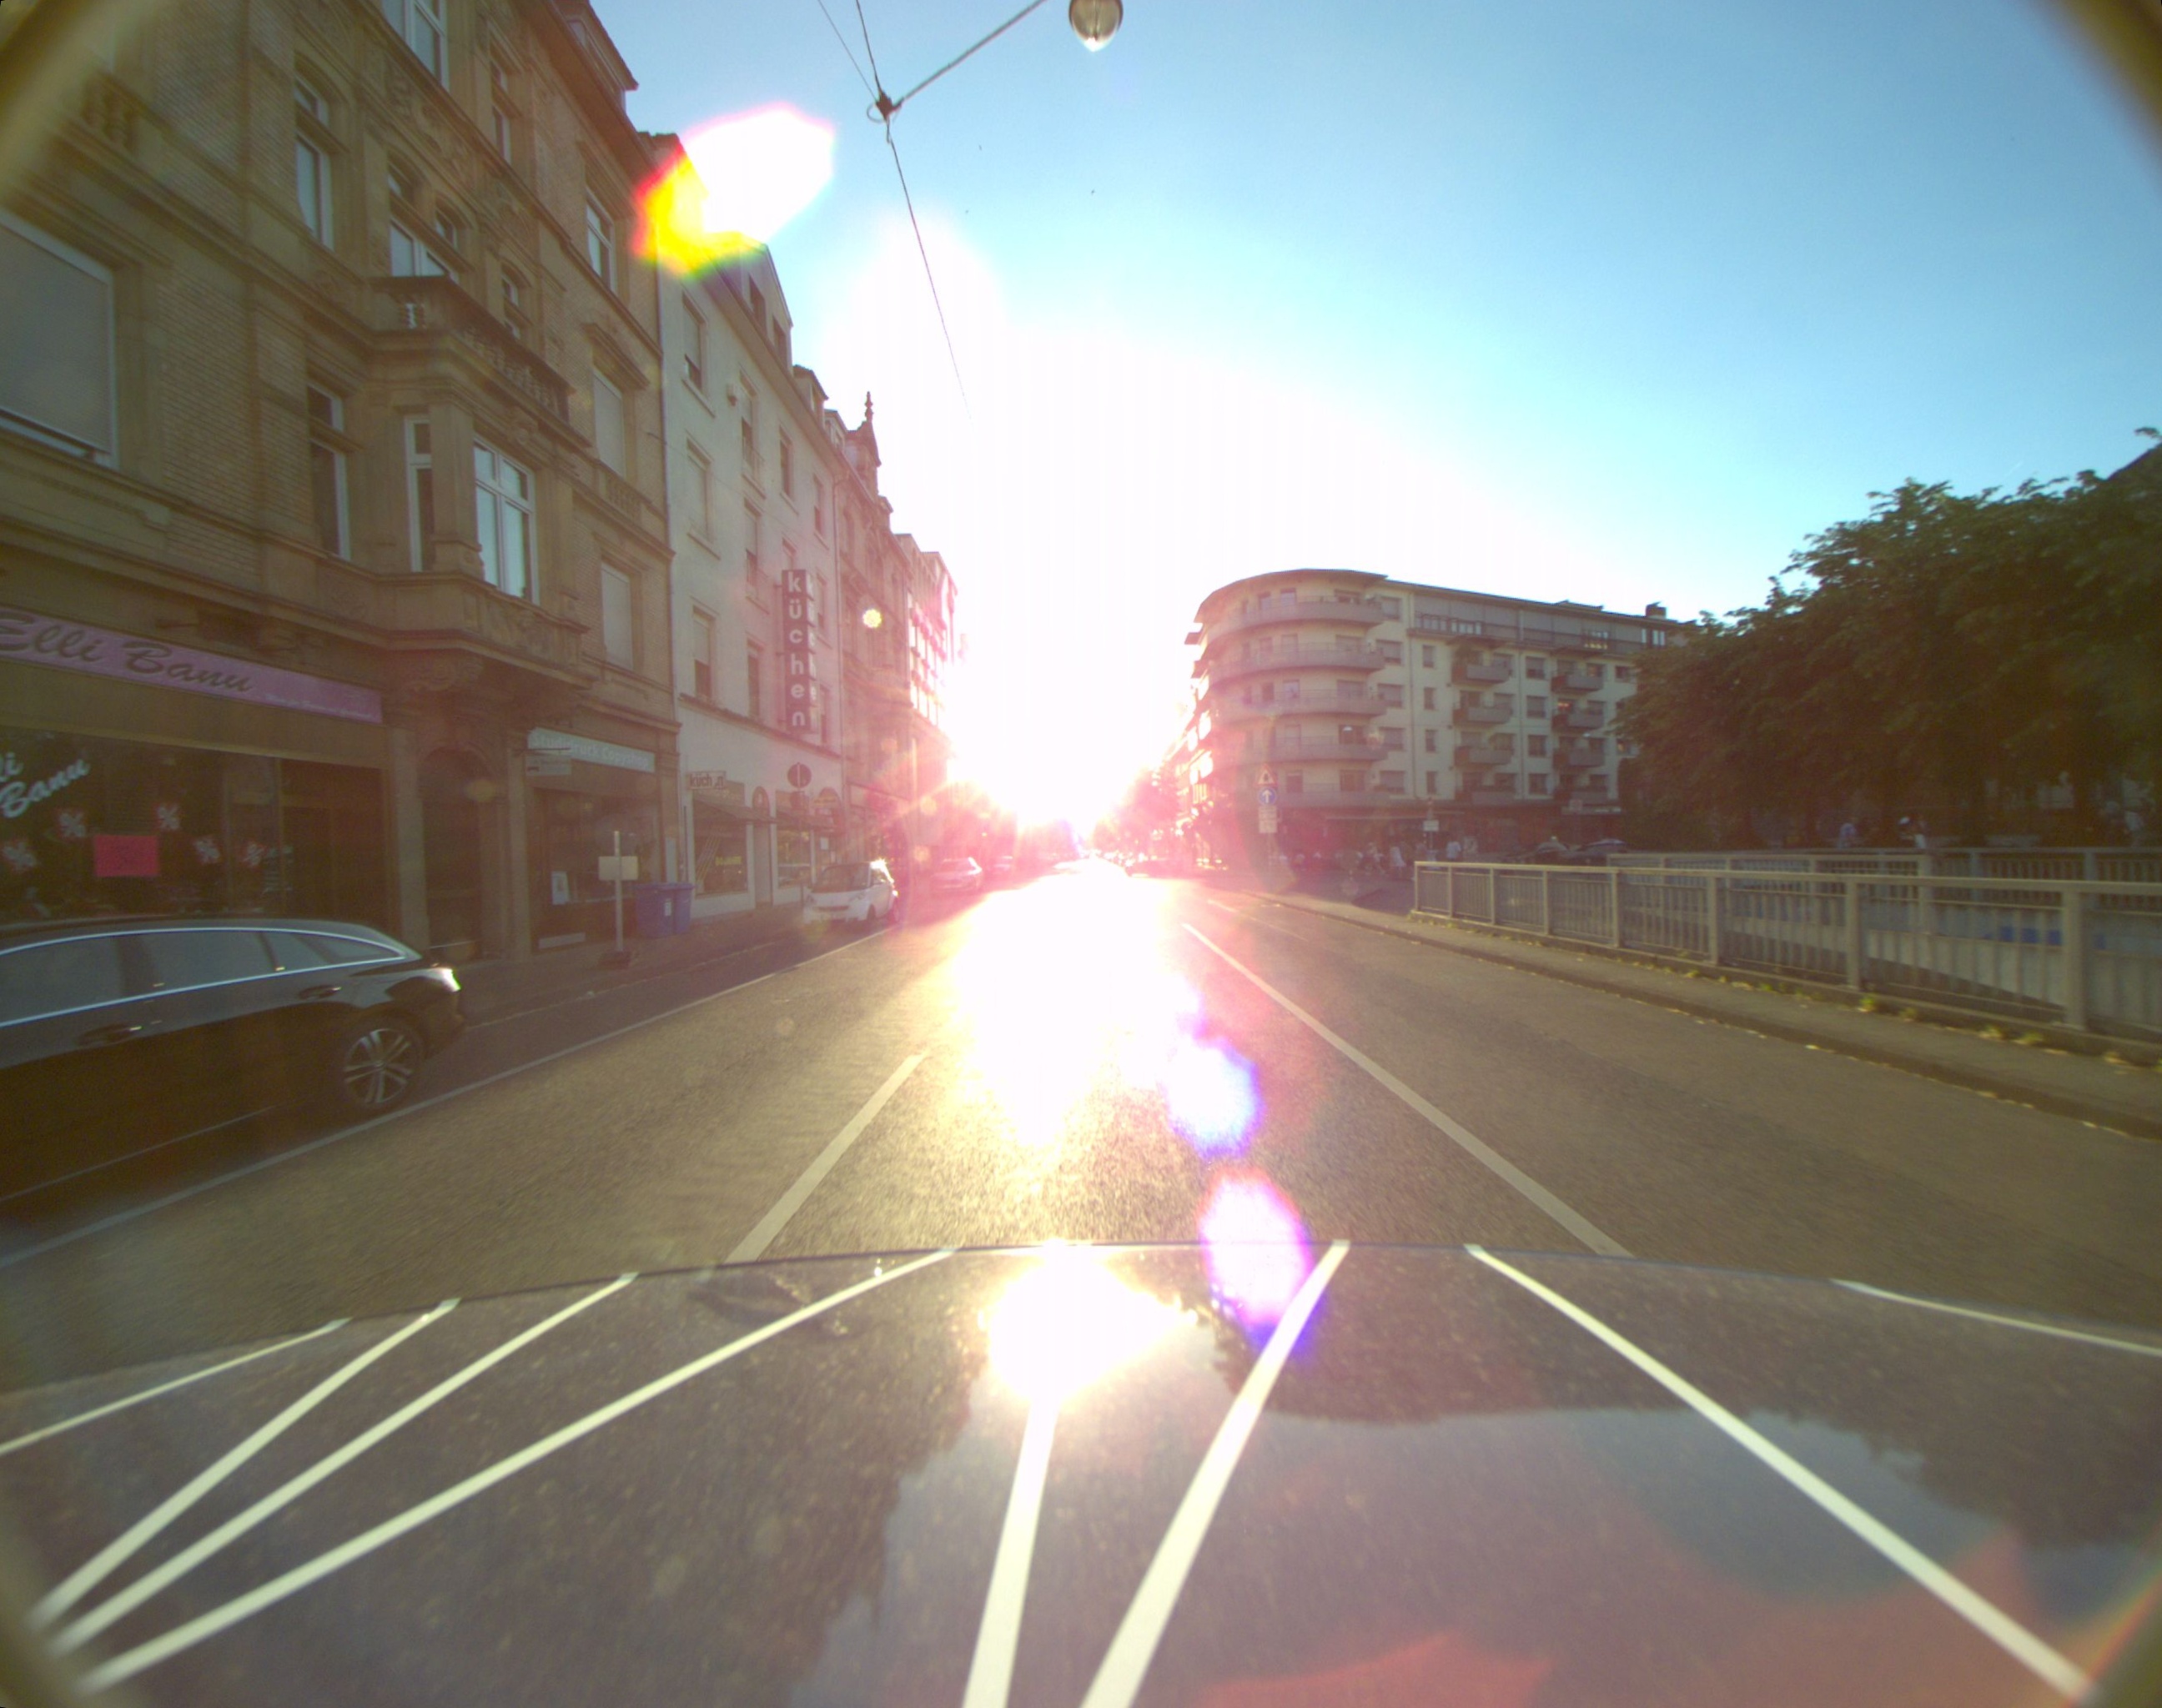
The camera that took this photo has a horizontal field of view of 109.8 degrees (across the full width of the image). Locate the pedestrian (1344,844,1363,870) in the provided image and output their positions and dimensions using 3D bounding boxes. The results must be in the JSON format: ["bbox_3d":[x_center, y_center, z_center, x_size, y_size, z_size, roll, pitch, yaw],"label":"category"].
[{"bbox_3d":[16.331,0.171,45.586,0.760,1.528,0.712,-2,4,-27],"label":"pedestrian"}]

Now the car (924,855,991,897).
[{"bbox_3d":[-5.061,0.891,31.675,1.999,1.526,4.682,-2,-1,0],"label":"car"}]

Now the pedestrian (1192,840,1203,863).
[{"bbox_3d":[10.019,-0.206,65.168,0.730,1.937,0.804,-2,1,-5],"label":"pedestrian"}]

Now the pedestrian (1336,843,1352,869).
[{"bbox_3d":[16.080,0.118,46.495,0.655,1.527,0.674,-2,3,-25],"label":"pedestrian"}]

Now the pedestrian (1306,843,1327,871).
[{"bbox_3d":[13.743,0.176,44.371,0.854,1.528,0.713,-2,5,-22],"label":"pedestrian"}]

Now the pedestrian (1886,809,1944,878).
[{"bbox_3d":[23.397,-0.278,21.333,0.780,1.864,0.715,-2,0,15],"label":"pedestrian"}]

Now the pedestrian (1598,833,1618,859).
[{"bbox_3d":[37.142,-0.550,53.564,1.005,1.816,0.948,-2,-1,38],"label":"pedestrian"}]

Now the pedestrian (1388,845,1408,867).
[{"bbox_3d":[19.544,0.136,46.852,0.852,1.298,0.878,-2,2,-3],"label":"pedestrian"}]

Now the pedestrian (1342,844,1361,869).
[{"bbox_3d":[16.678,0.140,46.875,0.784,1.495,0.768,-2,1,-25],"label":"pedestrian"}]

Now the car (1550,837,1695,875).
[{"bbox_3d":[22.630,0.132,31.956,2.110,1.422,4.440,-2,-1,-29],"label":"car"}]

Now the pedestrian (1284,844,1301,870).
[{"bbox_3d":[12.695,0.160,45.617,0.712,1.527,0.855,-2,-1,32],"label":"pedestrian"}]

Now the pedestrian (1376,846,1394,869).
[{"bbox_3d":[18.543,0.202,46.360,0.750,1.337,0.654,-2,3,-26],"label":"pedestrian"}]

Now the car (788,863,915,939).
[{"bbox_3d":[-5.353,1.041,18.278,1.704,1.575,4.000,-2,-1,2],"label":"car"}]

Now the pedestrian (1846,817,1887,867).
[{"bbox_3d":[28.400,-0.440,27.480,0.798,1.771,0.761,-3,1,-21],"label":"pedestrian"}]

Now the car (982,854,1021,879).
[{"bbox_3d":[-5.185,0.790,49.918,1.998,1.511,4.000,-1,0,2],"label":"car"}]

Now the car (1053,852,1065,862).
[{"bbox_3d":[-3.538,0.449,121.936,1.756,1.543,4.286,-2,0,0],"label":"car"}]

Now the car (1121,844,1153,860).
[{"bbox_3d":[7.492,-0.319,102.127,3.998,2.002,1.999,-2,1,-2],"label":"car"}]

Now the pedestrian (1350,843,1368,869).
[{"bbox_3d":[16.914,0.101,46.211,0.701,1.519,0.649,-2,4,-27],"label":"pedestrian"}]

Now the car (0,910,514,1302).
[{"bbox_3d":[-5.566,1.214,3.588,1.998,1.426,4.850,-2,0,1],"label":"car"}]

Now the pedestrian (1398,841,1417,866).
[{"bbox_3d":[20.819,-0.049,48.446,0.716,1.527,0.851,-2,-1,-45],"label":"pedestrian"}]

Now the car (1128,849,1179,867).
[{"bbox_3d":[6.607,0.352,69.871,4.442,1.532,1.817,-2,1,-1],"label":"car"}]

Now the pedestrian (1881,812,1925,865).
[{"bbox_3d":[28.670,-0.540,26.504,1.124,1.808,0.701,-2,1,-24],"label":"pedestrian"}]

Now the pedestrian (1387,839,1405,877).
[{"bbox_3d":[15.340,0.187,36.947,0.713,1.792,0.884,-2,0,24],"label":"pedestrian"}]

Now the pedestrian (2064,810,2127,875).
[{"bbox_3d":[25.707,-0.284,19.265,0.797,1.572,0.732,-3,-1,43],"label":"pedestrian"}]

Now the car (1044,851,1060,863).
[{"bbox_3d":[-3.927,0.403,104.787,1.999,1.543,3.999,-2,0,0],"label":"car"}]

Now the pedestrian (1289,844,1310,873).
[{"bbox_3d":[12.783,0.253,44.494,0.689,1.527,0.714,12,0,-7],"label":"pedestrian"}]

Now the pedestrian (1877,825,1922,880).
[{"bbox_3d":[22.686,-0.031,21.070,0.714,1.477,0.605,-2,0,37],"label":"pedestrian"}]

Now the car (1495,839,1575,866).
[{"bbox_3d":[29.036,-0.094,48.575,4.635,1.542,1.877,-2,-1,-21],"label":"car"}]

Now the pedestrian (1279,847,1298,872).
[{"bbox_3d":[11.970,0.311,43.807,0.768,1.374,0.841,0,3,41],"label":"pedestrian"}]

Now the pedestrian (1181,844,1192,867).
[{"bbox_3d":[9.021,0.106,64.956,0.730,1.937,0.740,-2,1,-5],"label":"pedestrian"}]

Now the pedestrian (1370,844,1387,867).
[{"bbox_3d":[18.725,0.091,47.806,0.603,1.413,0.713,-2,0,-24],"label":"pedestrian"}]

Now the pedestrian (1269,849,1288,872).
[{"bbox_3d":[11.589,0.363,44.513,0.684,1.274,0.969,-1,3,42],"label":"pedestrian"}]

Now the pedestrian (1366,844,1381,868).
[{"bbox_3d":[18.136,0.127,47.090,0.562,1.426,0.666,-2,3,-26],"label":"pedestrian"}]

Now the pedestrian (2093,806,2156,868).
[{"bbox_3d":[26.387,-0.416,19.218,0.679,1.533,0.593,-2,0,15],"label":"pedestrian"}]

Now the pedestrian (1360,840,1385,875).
[{"bbox_3d":[15.631,0.195,40.737,0.870,1.783,0.850,-2,0,-21],"label":"pedestrian"}]

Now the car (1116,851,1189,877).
[{"bbox_3d":[4.145,0.551,44.847,1.813,1.400,4.605,-3,2,-31],"label":"car"}]

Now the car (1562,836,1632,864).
[{"bbox_3d":[34.628,-0.266,50.950,4.142,1.689,1.882,-2,-1,-23],"label":"car"}]

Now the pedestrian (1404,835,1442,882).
[{"bbox_3d":[13.870,0.187,30.836,0.891,1.872,0.983,-2,0,-21],"label":"pedestrian"}]

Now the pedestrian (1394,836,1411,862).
[{"bbox_3d":[21.397,-0.346,50.595,0.669,1.710,0.717,-2,0,-24],"label":"pedestrian"}]

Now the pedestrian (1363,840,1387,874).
[{"bbox_3d":[15.405,0.165,39.839,0.737,1.783,0.811,-2,0,-21],"label":"pedestrian"}]

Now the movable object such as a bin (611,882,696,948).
[{"bbox_3d":[-8.551,1.192,15.270,0.868,1.179,1.398,-2,1,1],"label":"movable object such as a bin"}]

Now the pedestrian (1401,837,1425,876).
[{"bbox_3d":[16.207,0.141,37.110,0.851,1.865,0.715,-2,0,12],"label":"pedestrian"}]

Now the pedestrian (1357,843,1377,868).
[{"bbox_3d":[17.578,0.085,46.722,0.680,1.527,0.851,-2,0,-26],"label":"pedestrian"}]

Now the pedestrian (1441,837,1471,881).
[{"bbox_3d":[15.628,0.199,31.675,0.982,1.783,0.892,-2,0,31],"label":"pedestrian"}]

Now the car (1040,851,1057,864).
[{"bbox_3d":[-4.167,0.472,97.019,1.999,1.543,3.999,-2,0,0],"label":"car"}]

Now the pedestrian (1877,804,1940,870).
[{"bbox_3d":[23.999,-0.486,22.051,0.986,1.842,0.888,-2,0,-22],"label":"pedestrian"}]

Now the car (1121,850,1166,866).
[{"bbox_3d":[5.886,0.377,72.235,3.998,1.412,1.999,-2,1,-3],"label":"car"}]

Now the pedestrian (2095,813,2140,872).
[{"bbox_3d":[30.593,-0.333,22.427,0.804,1.716,0.622,-2,1,-24],"label":"pedestrian"}]

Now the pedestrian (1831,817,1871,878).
[{"bbox_3d":[22.364,-0.183,22.072,0.686,1.735,0.717,-2,0,38],"label":"pedestrian"}]

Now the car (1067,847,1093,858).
[{"bbox_3d":[-0.264,-0.267,147.510,4.836,2.002,2.004,-1,1,37],"label":"car"}]

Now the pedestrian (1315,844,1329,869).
[{"bbox_3d":[14.615,0.150,46.096,0.647,1.527,0.753,-2,0,10],"label":"pedestrian"}]
